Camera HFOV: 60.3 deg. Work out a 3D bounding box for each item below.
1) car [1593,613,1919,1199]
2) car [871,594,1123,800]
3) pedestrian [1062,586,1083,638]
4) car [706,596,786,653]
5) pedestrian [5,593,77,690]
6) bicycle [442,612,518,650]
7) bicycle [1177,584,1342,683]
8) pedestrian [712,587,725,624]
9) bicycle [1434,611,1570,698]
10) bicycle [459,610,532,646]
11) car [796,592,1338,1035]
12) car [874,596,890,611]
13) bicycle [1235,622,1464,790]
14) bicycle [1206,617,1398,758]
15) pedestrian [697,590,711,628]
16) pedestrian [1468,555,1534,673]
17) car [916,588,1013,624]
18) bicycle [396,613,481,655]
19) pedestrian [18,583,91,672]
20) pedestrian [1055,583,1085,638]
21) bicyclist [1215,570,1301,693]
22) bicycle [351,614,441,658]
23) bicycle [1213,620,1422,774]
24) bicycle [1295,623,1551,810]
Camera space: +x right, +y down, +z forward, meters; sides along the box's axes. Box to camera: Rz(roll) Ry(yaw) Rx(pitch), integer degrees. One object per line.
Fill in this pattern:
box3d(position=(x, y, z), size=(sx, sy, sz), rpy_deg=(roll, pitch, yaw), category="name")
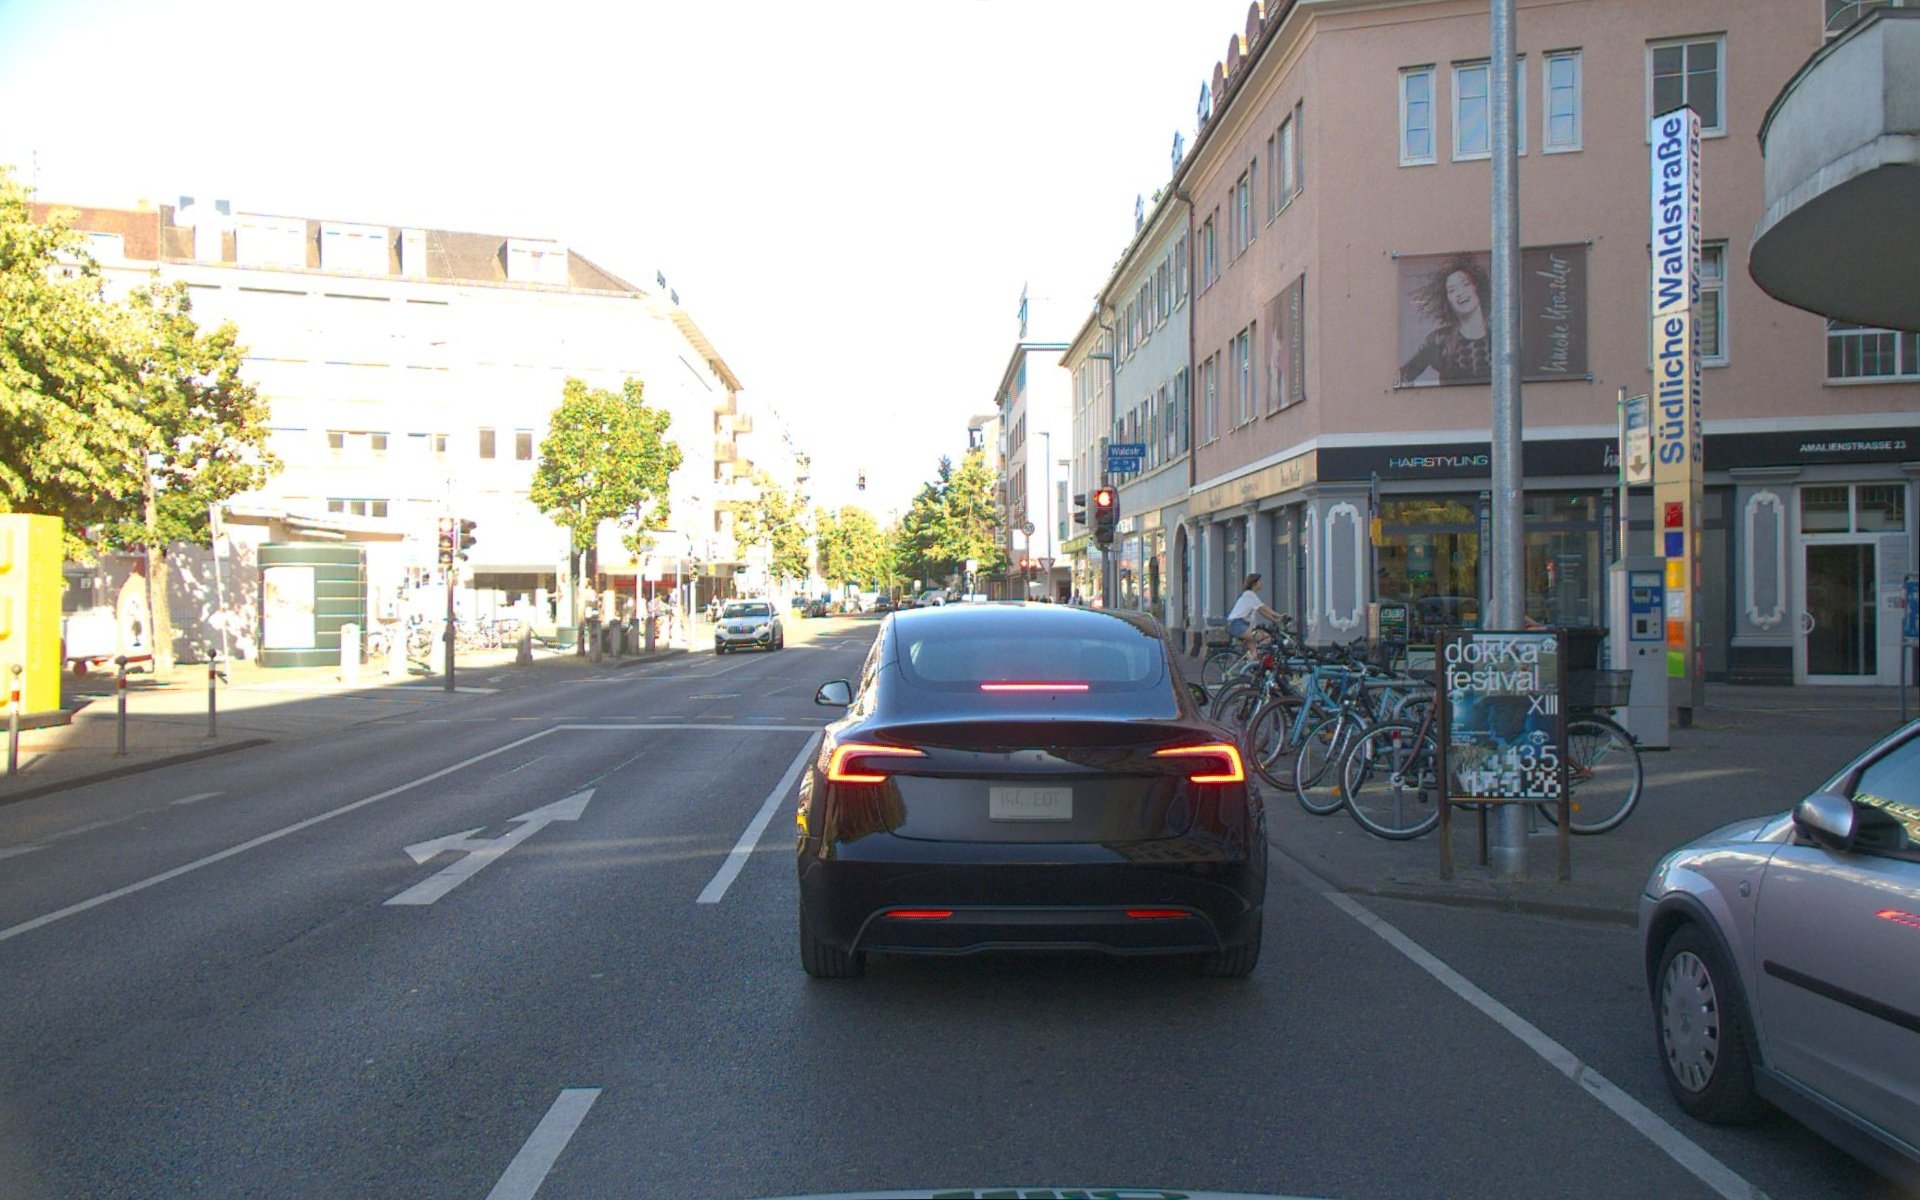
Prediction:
box3d(position=(2.929, 0.759, 3.635), size=(1.588, 1.419, 3.886), rpy_deg=(0, 0, 0), category="car")
box3d(position=(0.264, 0.693, 13.794), size=(1.812, 1.480, 3.786), rpy_deg=(0, 0, 0), category="car")
box3d(position=(3.907, 0.420, 57.401), size=(0.689, 1.814, 0.533), rpy_deg=(0, 0, -1), category="pedestrian")
box3d(position=(-6.596, 0.728, 51.338), size=(1.953, 1.567, 3.999), rpy_deg=(-4, 0, -1), category="car")
box3d(position=(-16.978, 0.759, 30.562), size=(0.882, 1.755, 0.744), rpy_deg=(0, 0, 3), category="pedestrian")
box3d(position=(-14.432, 0.926, 49.738), size=(2.040, 1.123, 0.806), rpy_deg=(0, 0, -1), category="bicycle")
box3d(position=(4.004, 0.447, 22.105), size=(2.080, 1.221, 0.629), rpy_deg=(-3, -1, 15), category="bicycle")
box3d(position=(-13.098, 0.298, 89.852), size=(0.613, 2.049, 0.575), rpy_deg=(0, 0, -1), category="pedestrian")
box3d(position=(6.858, 0.682, 20.976), size=(1.581, 1.063, 0.591), rpy_deg=(1, 0, 12), category="bicycle")
box3d(position=(-14.575, 0.884, 51.930), size=(2.040, 1.123, 0.806), rpy_deg=(0, 0, -1), category="bicycle")
box3d(position=(0.360, 0.711, 7.427), size=(1.812, 1.480, 3.786), rpy_deg=(0, 0, 0), category="car")
box3d(position=(-8.986, 0.390, 189.815), size=(1.793, 1.754, 3.998), rpy_deg=(0, 0, -2), category="car")
box3d(position=(2.930, 0.791, 12.503), size=(1.595, 1.180, 0.432), rpy_deg=(-2, 0, -2), category="bicycle")
box3d(position=(3.047, 0.772, 14.789), size=(1.594, 1.180, 0.433), rpy_deg=(-2, 0, 0), category="bicycle")
box3d(position=(-13.898, 0.477, 89.780), size=(0.613, 2.049, 0.707), rpy_deg=(0, 0, -1), category="pedestrian")
box3d(position=(6.863, 0.172, 20.990), size=(0.727, 1.466, 0.583), rpy_deg=(0, 0, 12), category="pedestrian")
box3d(position=(0.200, 0.300, 83.217), size=(4.558, 1.757, 2.050), rpy_deg=(0, 0, 35), category="car")
box3d(position=(-14.164, 0.909, 44.968), size=(2.040, 1.123, 0.806), rpy_deg=(0, 0, -1), category="bicycle")
box3d(position=(-17.059, 0.509, 31.172), size=(0.966, 1.665, 0.737), rpy_deg=(0, 0, 3), category="pedestrian")
box3d(position=(3.809, 0.366, 57.356), size=(0.979, 1.883, 0.615), rpy_deg=(0, 0, -1), category="pedestrian")
box3d(position=(3.991, 0.408, 22.103), size=(1.074, 1.617, 0.629), rpy_deg=(0, 0, 15), category="bicyclist")
box3d(position=(-14.457, 0.922, 42.443), size=(2.040, 1.123, 0.806), rpy_deg=(0, 0, -1), category="bicycle")
box3d(position=(2.929, 0.785, 13.599), size=(1.595, 1.180, 0.432), rpy_deg=(-2, 0, -2), category="bicycle")
box3d(position=(3.138, 0.779, 11.271), size=(1.595, 1.180, 0.432), rpy_deg=(-2, 0, -2), category="bicycle")
